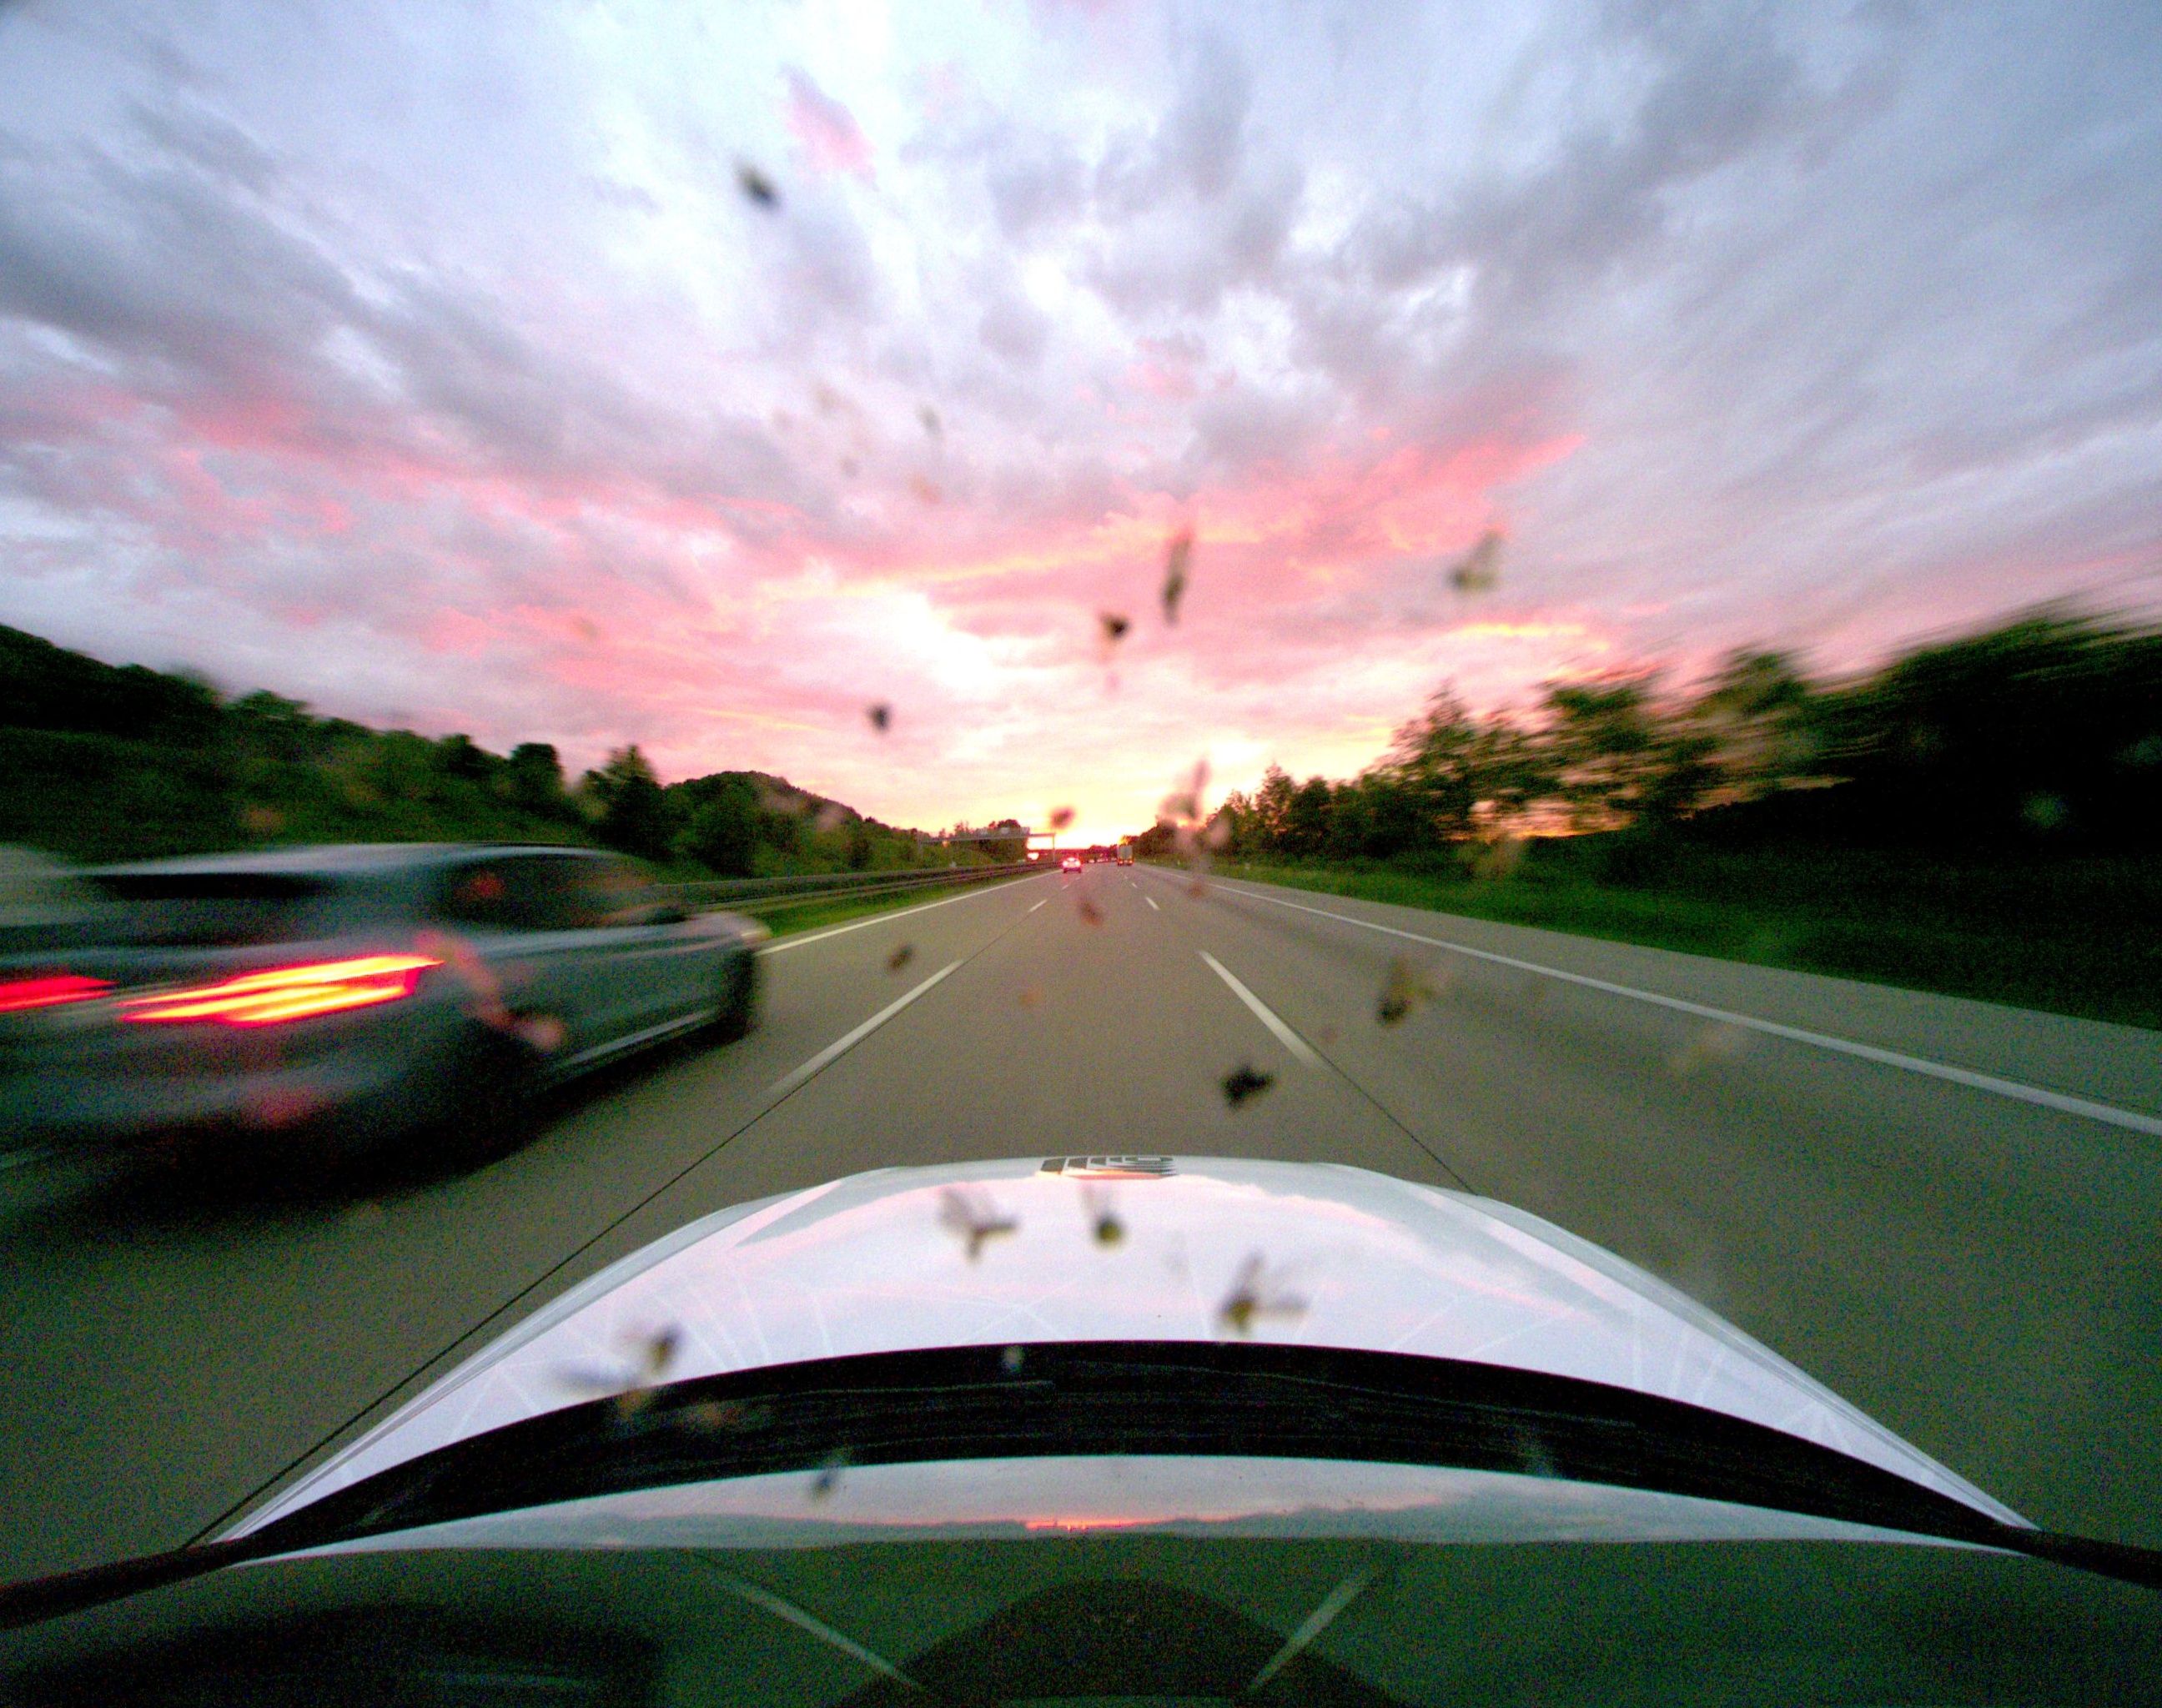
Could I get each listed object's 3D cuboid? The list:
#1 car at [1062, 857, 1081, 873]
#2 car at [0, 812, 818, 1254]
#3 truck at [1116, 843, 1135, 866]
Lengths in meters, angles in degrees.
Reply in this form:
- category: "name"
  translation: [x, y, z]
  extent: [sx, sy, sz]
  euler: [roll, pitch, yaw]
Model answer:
- category: "car"
  translation: [-0.952, 1.131, 85.853]
  extent: [1.783, 1.501, 5.039]
  euler: [-1, 0, 1]
- category: "car"
  translation: [-3.858, 0.699, 5.926]
  extent: [1.882, 1.660, 5.641]
  euler: [-1, 0, 2]
- category: "truck"
  translation: [8.241, 0.119, 151.912]
  extent: [3.232, 4.127, 9.790]
  euler: [-2, 0, 2]
